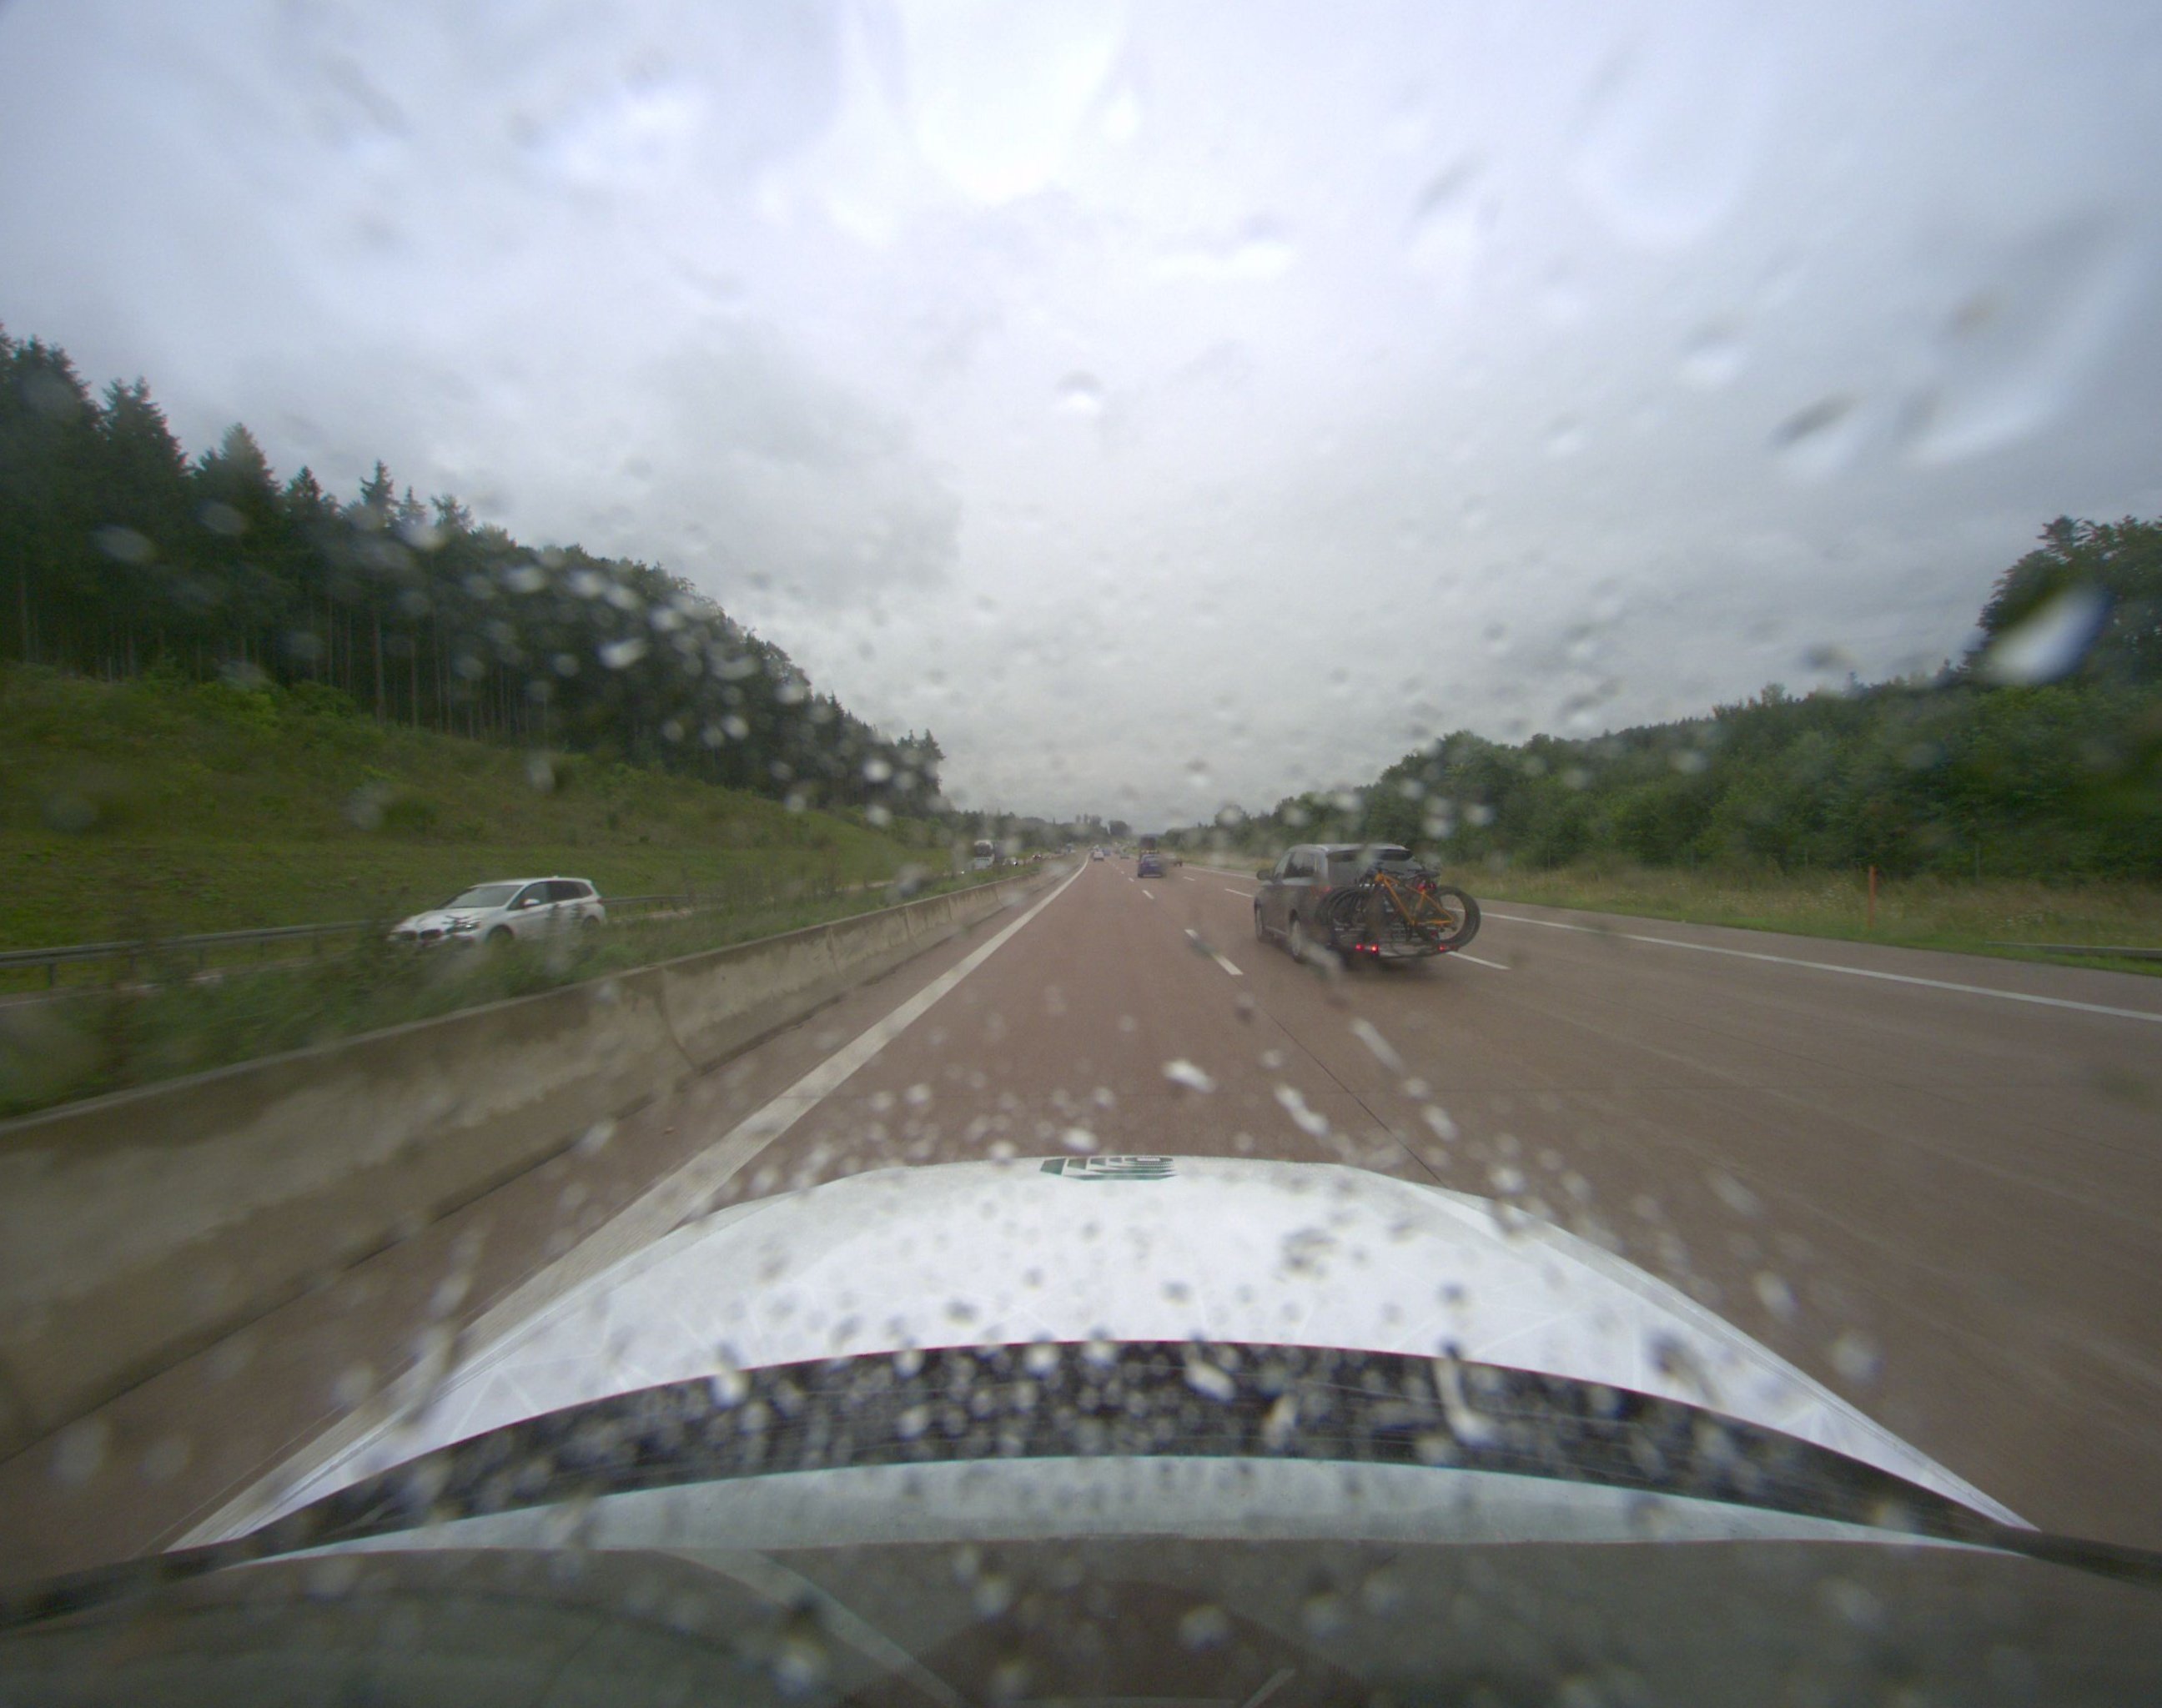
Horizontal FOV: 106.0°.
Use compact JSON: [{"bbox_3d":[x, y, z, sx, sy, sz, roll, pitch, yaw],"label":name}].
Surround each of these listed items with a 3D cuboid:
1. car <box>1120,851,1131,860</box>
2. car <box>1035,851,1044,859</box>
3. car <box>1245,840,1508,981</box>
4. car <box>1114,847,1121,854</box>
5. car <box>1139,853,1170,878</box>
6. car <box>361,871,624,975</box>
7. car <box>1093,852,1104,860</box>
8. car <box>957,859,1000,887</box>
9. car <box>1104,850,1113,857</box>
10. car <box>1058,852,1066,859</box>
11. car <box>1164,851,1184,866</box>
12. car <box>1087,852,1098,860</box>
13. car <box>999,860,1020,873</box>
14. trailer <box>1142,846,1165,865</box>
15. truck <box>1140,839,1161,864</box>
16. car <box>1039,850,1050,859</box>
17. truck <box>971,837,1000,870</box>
[{"bbox_3d":[9.279,0.365,169.992,2.314,1.750,4.879,0,-1,2],"label":"car"},{"bbox_3d":[-10.835,0.375,210.637,1.987,2.014,5.674,-1,-1,0],"label":"car"},{"bbox_3d":[3.937,0.662,12.170,1.986,1.592,5.822,0,0,2],"label":"car"},{"bbox_3d":[11.788,-1.139,262.083,1.986,2.014,4.001,0,-1,1],"label":"car"},{"bbox_3d":[4.775,0.734,53.355,1.764,1.564,4.148,0,-1,2],"label":"car"},{"bbox_3d":[-12.090,1.308,17.278,1.807,1.723,4.953,-3,-1,2],"label":"car"},{"bbox_3d":[3.180,0.327,144.087,1.867,1.444,4.879,0,-1,2],"label":"car"},{"bbox_3d":[-6.843,1.221,54.894,2.041,1.776,5.326,0,-1,1],"label":"car"},{"bbox_3d":[7.454,-0.194,222.156,2.314,1.750,4.879,0,-1,2],"label":"car"},{"bbox_3d":[-5.499,0.459,233.136,1.883,1.780,4.941,0,-1,2],"label":"car"},{"bbox_3d":[10.322,0.524,90.385,1.692,1.611,4.977,-1,0,1],"label":"car"},{"bbox_3d":[2.605,0.528,182.051,2.314,1.750,4.879,0,-1,2],"label":"car"},{"bbox_3d":[-9.313,1.642,107.054,2.041,1.693,6.385,0,0,1],"label":"car"},{"bbox_3d":[11.125,0.257,126.071,2.870,2.675,11.402,0,0,2],"label":"trailer"},{"bbox_3d":[11.347,-0.357,133.318,2.886,3.964,6.991,0,-1,1],"label":"truck"},{"bbox_3d":[-7.837,0.102,176.016,1.986,1.767,5.096,-1,1,2],"label":"car"},{"bbox_3d":[-13.105,0.024,112.583,2.913,4.390,7.405,0,-1,1],"label":"truck"}]
